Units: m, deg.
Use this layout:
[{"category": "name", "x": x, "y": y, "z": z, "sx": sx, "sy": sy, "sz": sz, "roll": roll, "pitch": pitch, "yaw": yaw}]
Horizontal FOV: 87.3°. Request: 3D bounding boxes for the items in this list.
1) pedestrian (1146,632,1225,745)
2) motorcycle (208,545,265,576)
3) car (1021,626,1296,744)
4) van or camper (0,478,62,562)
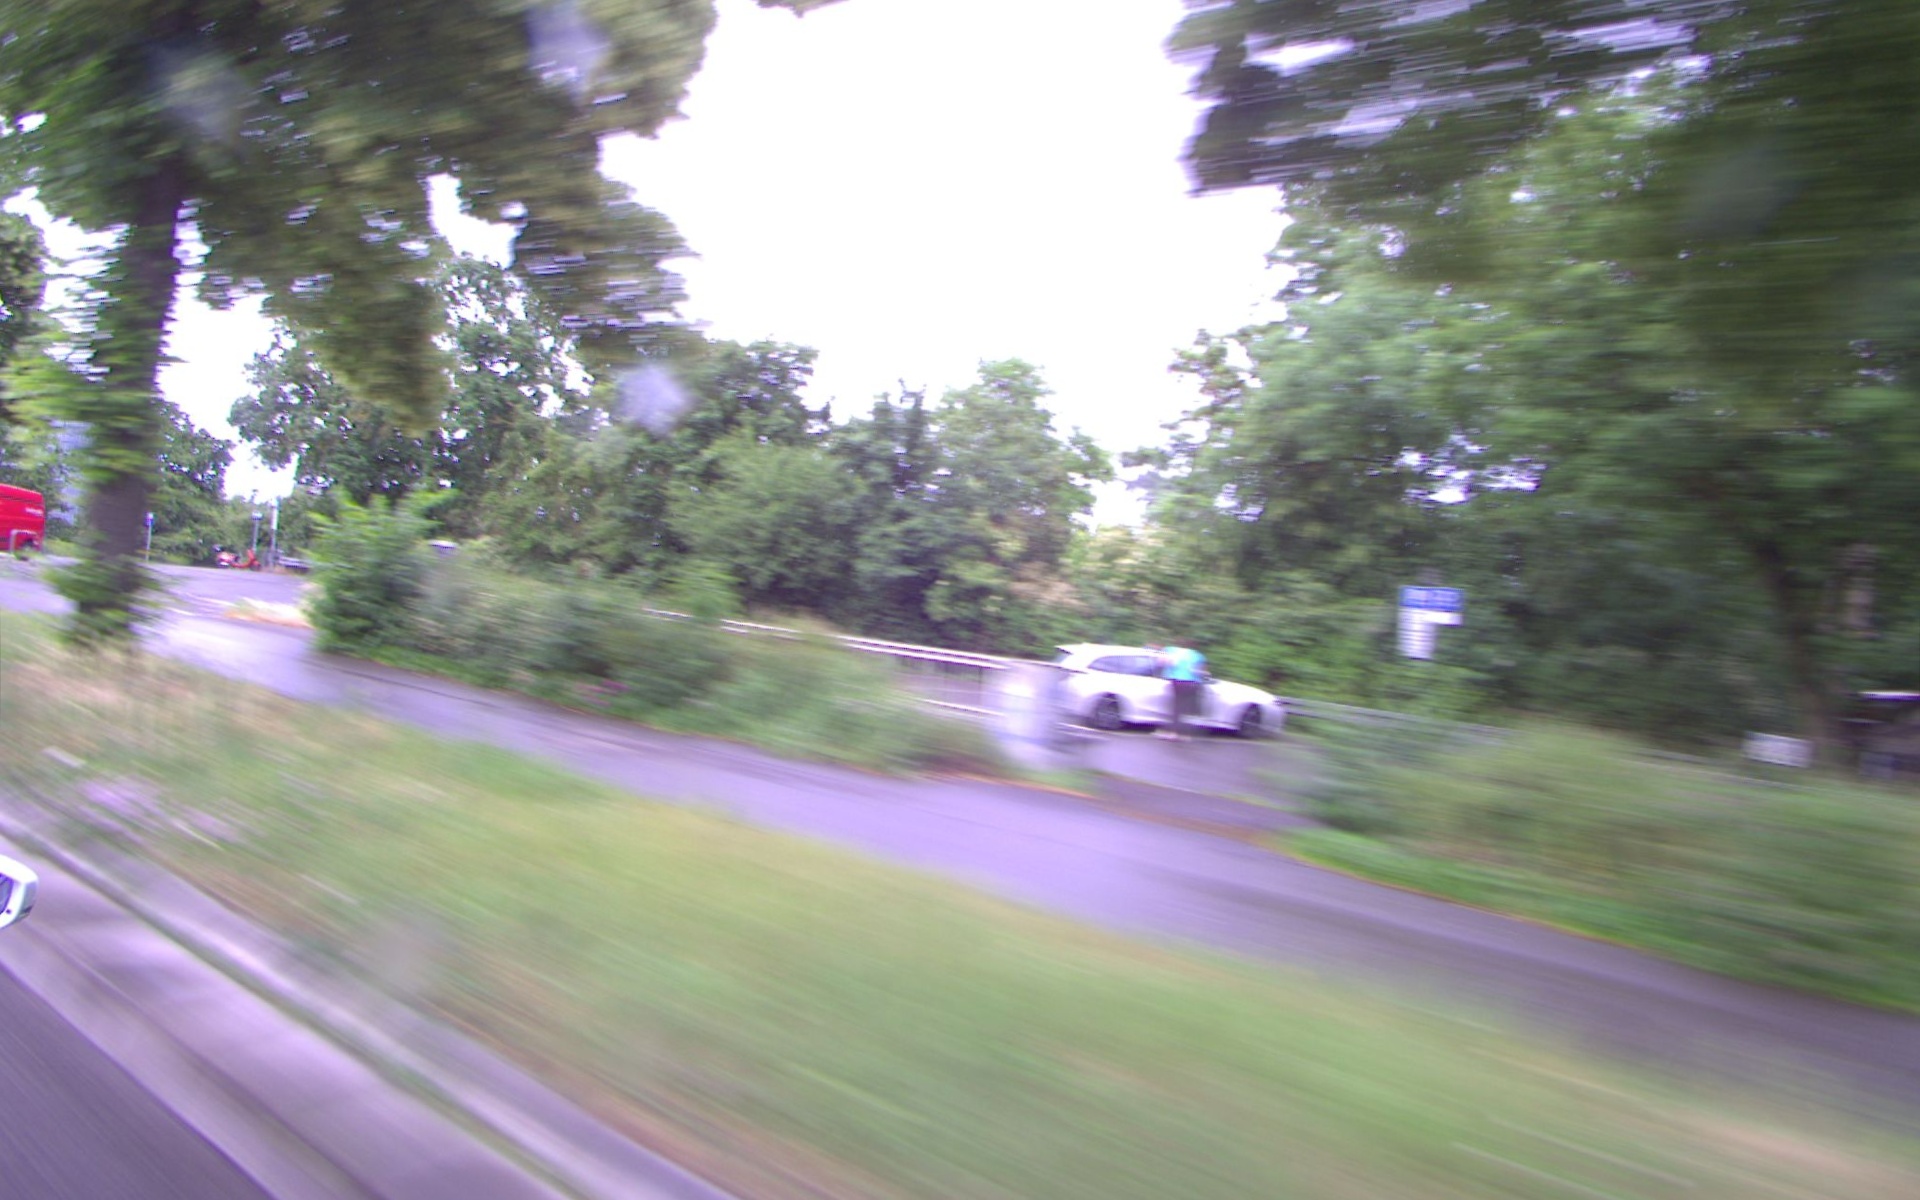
[{"category": "pedestrian", "x": 3.899, "y": 1.521, "z": 17.482, "sx": 0.927, "sy": 1.794, "sz": 0.895, "roll": 5, "pitch": 2, "yaw": -9}, {"category": "motorcycle", "x": -33.105, "y": -1.804, "z": 46.057, "sx": 1.993, "sy": 1.226, "sz": 0.473, "roll": 4, "pitch": -5, "yaw": -18}, {"category": "car", "x": 3.669, "y": 1.563, "z": 19.007, "sx": 4.571, "sy": 1.598, "sz": 1.998, "roll": 7, "pitch": -1, "yaw": -9}, {"category": "van or camper", "x": -31.489, "y": -2.788, "z": 31.815, "sx": 2.011, "sy": 2.430, "sz": 5.384, "roll": 10, "pitch": -4, "yaw": -14}]
